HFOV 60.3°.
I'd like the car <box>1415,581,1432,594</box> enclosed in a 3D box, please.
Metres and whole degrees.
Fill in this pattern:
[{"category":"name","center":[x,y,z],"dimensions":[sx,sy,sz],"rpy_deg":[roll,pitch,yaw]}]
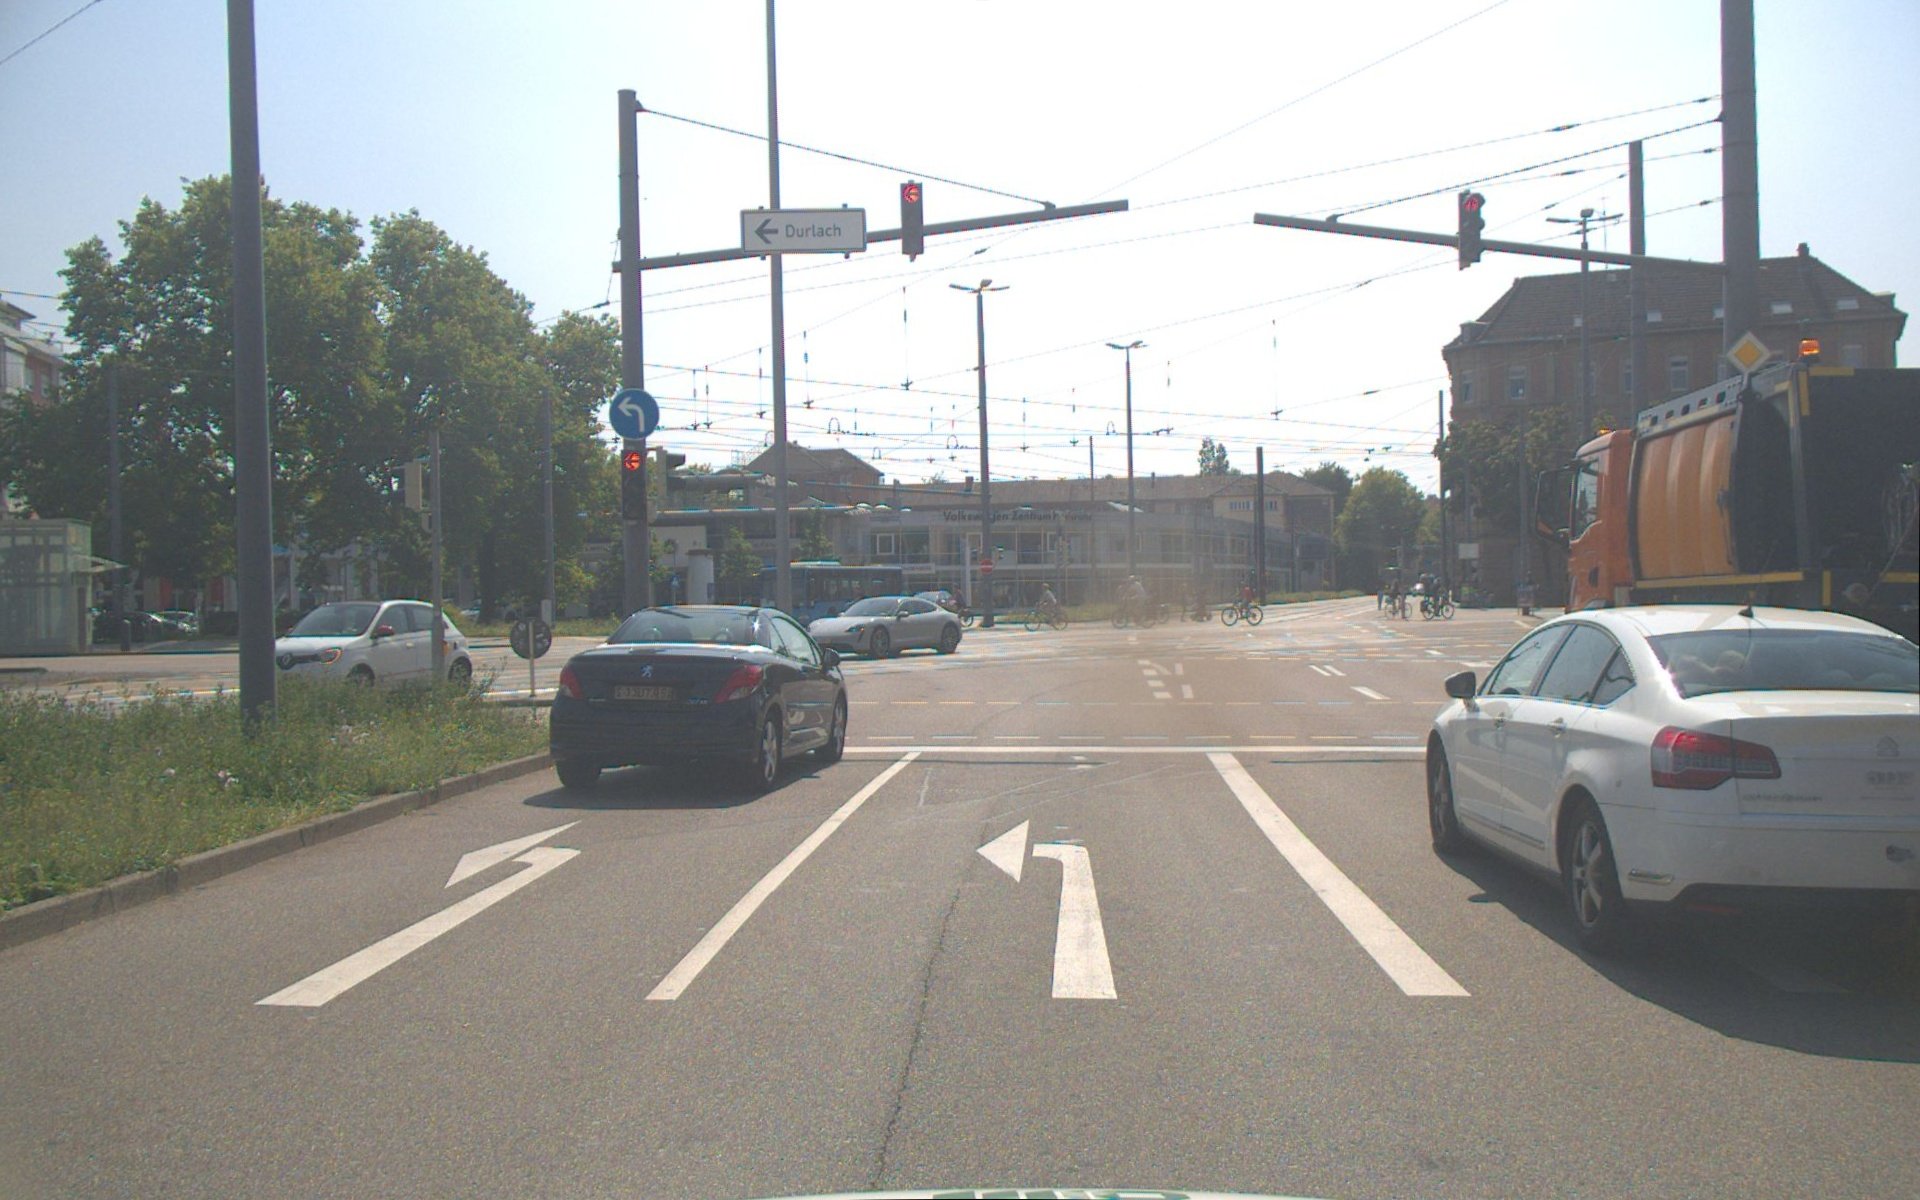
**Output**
[{"category":"car","center":[57.243,-1.509,204.220],"dimensions":[1.951,1.509,4.003],"rpy_deg":[-1,0,14]}]

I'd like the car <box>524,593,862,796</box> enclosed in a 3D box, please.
[{"category":"car","center":[-2.043,0.667,13.857],"dimensions":[1.720,1.429,3.984],"rpy_deg":[0,0,7]}]

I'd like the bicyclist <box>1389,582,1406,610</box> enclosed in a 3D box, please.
[{"category":"bicyclist","center":[19.752,-0.175,74.697],"dimensions":[0.590,1.269,0.500],"rpy_deg":[-1,0,-40]}]

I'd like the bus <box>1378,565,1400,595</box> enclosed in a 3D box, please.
[{"category":"bus","center":[52.986,-2.425,204.383],"dimensions":[2.507,3.567,7.807],"rpy_deg":[-1,0,15]}]

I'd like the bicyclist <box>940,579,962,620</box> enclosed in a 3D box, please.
[{"category":"bicyclist","center":[-0.380,-0.020,69.144],"dimensions":[0.748,1.662,0.760],"rpy_deg":[-1,0,-12]}]

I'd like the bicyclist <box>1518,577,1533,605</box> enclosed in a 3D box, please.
[{"category":"bicyclist","center":[25.429,-0.413,74.363],"dimensions":[0.582,1.269,0.507],"rpy_deg":[-1,0,24]}]

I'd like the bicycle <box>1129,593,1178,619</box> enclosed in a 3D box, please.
[{"category":"bicycle","center":[8.178,0.264,69.738],"dimensions":[1.950,1.036,0.710],"rpy_deg":[-1,0,-22]}]

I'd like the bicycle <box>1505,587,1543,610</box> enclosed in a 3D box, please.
[{"category":"bicycle","center":[25.369,-0.068,74.385],"dimensions":[1.559,1.002,0.507],"rpy_deg":[-1,0,24]}]

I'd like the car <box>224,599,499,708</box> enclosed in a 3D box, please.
[{"category":"car","center":[-8.824,0.746,24.775],"dimensions":[1.733,1.450,4.069],"rpy_deg":[-1,0,18]}]

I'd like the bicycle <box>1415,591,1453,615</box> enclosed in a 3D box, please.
[{"category":"bicycle","center":[20.668,0.118,72.109],"dimensions":[1.558,1.002,0.507],"rpy_deg":[-1,0,20]}]

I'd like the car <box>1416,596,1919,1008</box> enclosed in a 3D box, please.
[{"category":"car","center":[3.607,0.739,8.265],"dimensions":[1.721,1.480,4.428],"rpy_deg":[0,0,4]}]

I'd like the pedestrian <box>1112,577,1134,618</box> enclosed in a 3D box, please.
[{"category":"pedestrian","center":[7.199,-0.125,72.877],"dimensions":[0.767,1.782,0.809],"rpy_deg":[-1,0,18]}]

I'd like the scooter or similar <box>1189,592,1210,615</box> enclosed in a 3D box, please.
[{"category":"scooter or similar","center":[10.689,0.143,73.782],"dimensions":[0.818,0.991,0.793],"rpy_deg":[-1,0,2]}]

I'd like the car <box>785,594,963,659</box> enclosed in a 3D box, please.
[{"category":"car","center":[-1.993,0.602,39.737],"dimensions":[1.906,1.424,4.572],"rpy_deg":[-1,0,34]}]

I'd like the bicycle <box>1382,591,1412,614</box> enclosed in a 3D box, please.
[{"category":"bicycle","center":[19.741,0.126,74.679],"dimensions":[1.581,1.002,0.500],"rpy_deg":[-1,0,-40]}]

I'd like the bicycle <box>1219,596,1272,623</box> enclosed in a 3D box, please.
[{"category":"bicycle","center":[11.249,0.365,65.223],"dimensions":[1.939,1.036,0.714],"rpy_deg":[-1,0,26]}]

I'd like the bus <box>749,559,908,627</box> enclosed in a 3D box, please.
[{"category":"bus","center":[-6.093,-0.356,79.464],"dimensions":[2.990,2.982,11.856],"rpy_deg":[-1,0,20]}]

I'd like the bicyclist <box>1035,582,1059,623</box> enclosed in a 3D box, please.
[{"category":"bicyclist","center":[3.297,0.098,62.548],"dimensions":[0.655,1.535,0.710],"rpy_deg":[-1,0,-23]}]

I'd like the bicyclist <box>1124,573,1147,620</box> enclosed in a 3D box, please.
[{"category":"bicyclist","center":[6.734,-0.139,63.385],"dimensions":[0.691,1.794,0.713],"rpy_deg":[-1,0,-7]}]

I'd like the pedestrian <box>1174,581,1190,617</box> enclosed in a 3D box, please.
[{"category":"pedestrian","center":[9.880,-0.035,73.741],"dimensions":[0.622,1.588,0.748],"rpy_deg":[-1,0,2]}]

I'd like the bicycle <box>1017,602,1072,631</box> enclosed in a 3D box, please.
[{"category":"bicycle","center":[3.206,0.608,62.506],"dimensions":[1.951,1.036,0.709],"rpy_deg":[-1,0,-23]}]

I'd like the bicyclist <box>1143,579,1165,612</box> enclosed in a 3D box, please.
[{"category":"bicyclist","center":[8.179,-0.171,69.740],"dimensions":[0.658,1.374,0.707],"rpy_deg":[-1,0,-21]}]

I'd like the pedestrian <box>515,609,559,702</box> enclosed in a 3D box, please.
[{"category":"pedestrian","center":[-6.128,0.801,23.983],"dimensions":[0.586,1.290,0.503],"rpy_deg":[-1,2,-15]}]

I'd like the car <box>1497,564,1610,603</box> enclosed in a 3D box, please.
[{"category":"car","center":[23.517,-0.666,65.578],"dimensions":[3.821,1.444,1.731],"rpy_deg":[-1,0,-8]}]

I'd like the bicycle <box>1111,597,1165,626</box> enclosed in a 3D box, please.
[{"category":"bicycle","center":[6.816,0.434,63.398],"dimensions":[1.941,1.036,0.713],"rpy_deg":[-1,0,-8]}]

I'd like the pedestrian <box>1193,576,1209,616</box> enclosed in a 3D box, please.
[{"category":"pedestrian","center":[10.625,-0.180,72.984],"dimensions":[0.609,1.782,0.628],"rpy_deg":[-1,0,1]}]

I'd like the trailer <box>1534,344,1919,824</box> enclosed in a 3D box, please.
[{"category":"trailer","center":[6.831,-0.120,13.675],"dimensions":[2.411,3.060,6.329],"rpy_deg":[0,0,5]}]

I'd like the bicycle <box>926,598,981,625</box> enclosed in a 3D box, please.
[{"category":"bicycle","center":[-0.282,0.473,69.166],"dimensions":[2.158,1.106,0.760],"rpy_deg":[-1,0,-12]}]

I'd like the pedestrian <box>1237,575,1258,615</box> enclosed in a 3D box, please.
[{"category":"pedestrian","center":[11.325,-0.209,65.178],"dimensions":[0.649,1.561,0.714],"rpy_deg":[-1,0,26]}]

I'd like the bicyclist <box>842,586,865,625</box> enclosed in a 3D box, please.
[{"category":"bicyclist","center":[-4.390,0.236,68.206],"dimensions":[0.785,1.568,0.760],"rpy_deg":[-1,0,-15]}]

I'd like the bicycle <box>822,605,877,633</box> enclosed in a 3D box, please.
[{"category":"bicycle","center":[-4.547,0.768,68.162],"dimensions":[2.161,1.106,0.760],"rpy_deg":[-1,0,-16]}]

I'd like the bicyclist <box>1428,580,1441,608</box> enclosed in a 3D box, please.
[{"category":"bicyclist","center":[20.700,-0.242,72.100],"dimensions":[0.493,1.209,0.507],"rpy_deg":[-1,0,20]}]
